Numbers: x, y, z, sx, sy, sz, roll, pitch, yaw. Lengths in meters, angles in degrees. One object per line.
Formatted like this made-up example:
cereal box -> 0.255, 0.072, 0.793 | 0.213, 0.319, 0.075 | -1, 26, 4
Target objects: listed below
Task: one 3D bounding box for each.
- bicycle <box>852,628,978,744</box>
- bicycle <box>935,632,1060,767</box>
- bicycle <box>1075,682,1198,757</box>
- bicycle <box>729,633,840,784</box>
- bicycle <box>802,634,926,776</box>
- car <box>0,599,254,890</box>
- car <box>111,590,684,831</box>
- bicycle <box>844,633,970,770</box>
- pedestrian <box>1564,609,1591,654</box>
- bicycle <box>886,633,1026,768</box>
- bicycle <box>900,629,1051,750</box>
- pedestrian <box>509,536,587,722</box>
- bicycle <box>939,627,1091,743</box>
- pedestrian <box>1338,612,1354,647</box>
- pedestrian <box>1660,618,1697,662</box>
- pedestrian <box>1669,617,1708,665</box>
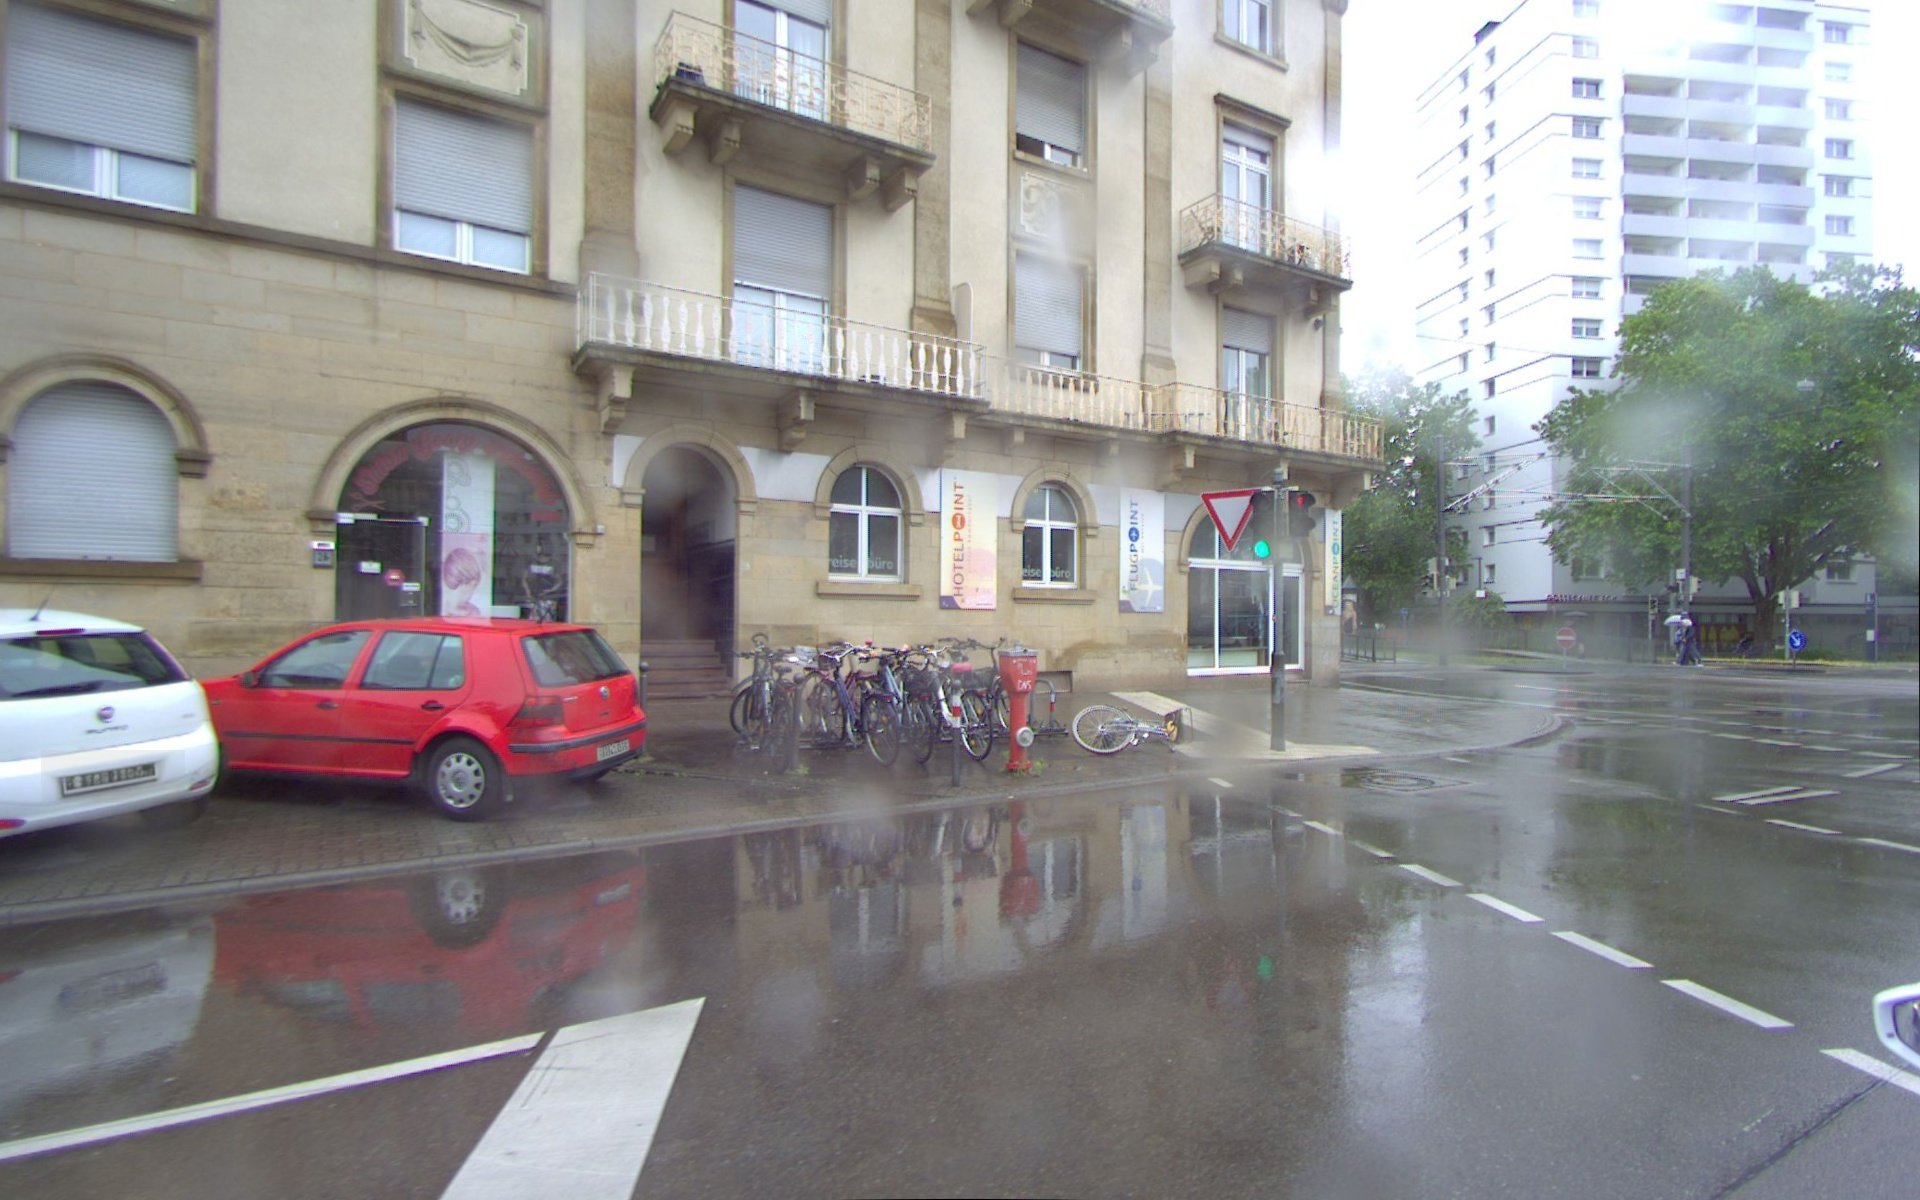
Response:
bicycle -> -0.616, 1.042, 12.823 | 0.579, 1.364, 2.042 | 1, -2, -36
bicycle -> 0.365, 1.033, 11.080 | 0.432, 1.347, 1.968 | 1, -1, -29
bicycle -> 2.113, 1.380, 11.894 | 1.023, 0.672, 1.476 | 2, 0, 28
bicycle -> -1.760, 0.996, 9.870 | 0.592, 1.201, 1.804 | 1, 3, -25
bicycle -> -1.028, 1.014, 10.328 | 0.470, 1.200, 1.799 | 1, 2, -32
car -> -6.923, 0.781, 6.668 | 3.915, 1.554, 1.704 | 1, 0, 19
car -> -4.536, 0.761, 8.318 | 3.919, 1.528, 1.804 | 2, 1, 13
bicycle -> -0.600, 1.011, 10.594 | 0.463, 1.200, 1.799 | 1, 2, -33
pedestrian -> 25.686, 1.317, 41.793 | 0.628, 1.862, 0.678 | 0, -2, -8
bicycle -> -0.090, 1.025, 10.863 | 0.470, 1.200, 1.967 | 1, 2, -34
bicycle -> 0.138, 1.045, 12.521 | 0.634, 1.364, 2.324 | 1, -2, -36
pedestrian -> -5.438, 0.382, 13.295 | 0.750, 2.371, 0.847 | 0, -1, -9
bicycle -> 0.647, 1.045, 12.910 | 0.634, 1.364, 2.325 | 1, -3, -36
pedestrian -> 23.505, 1.777, 61.103 | 0.626, 2.105, 0.701 | 0, -1, -12
pedestrian -> 27.204, 1.515, 38.049 | 0.803, 1.670, 0.791 | 0, -2, -16
pedestrian -> 26.068, 1.461, 35.959 | 0.743, 1.670, 0.835 | 0, -2, -16
